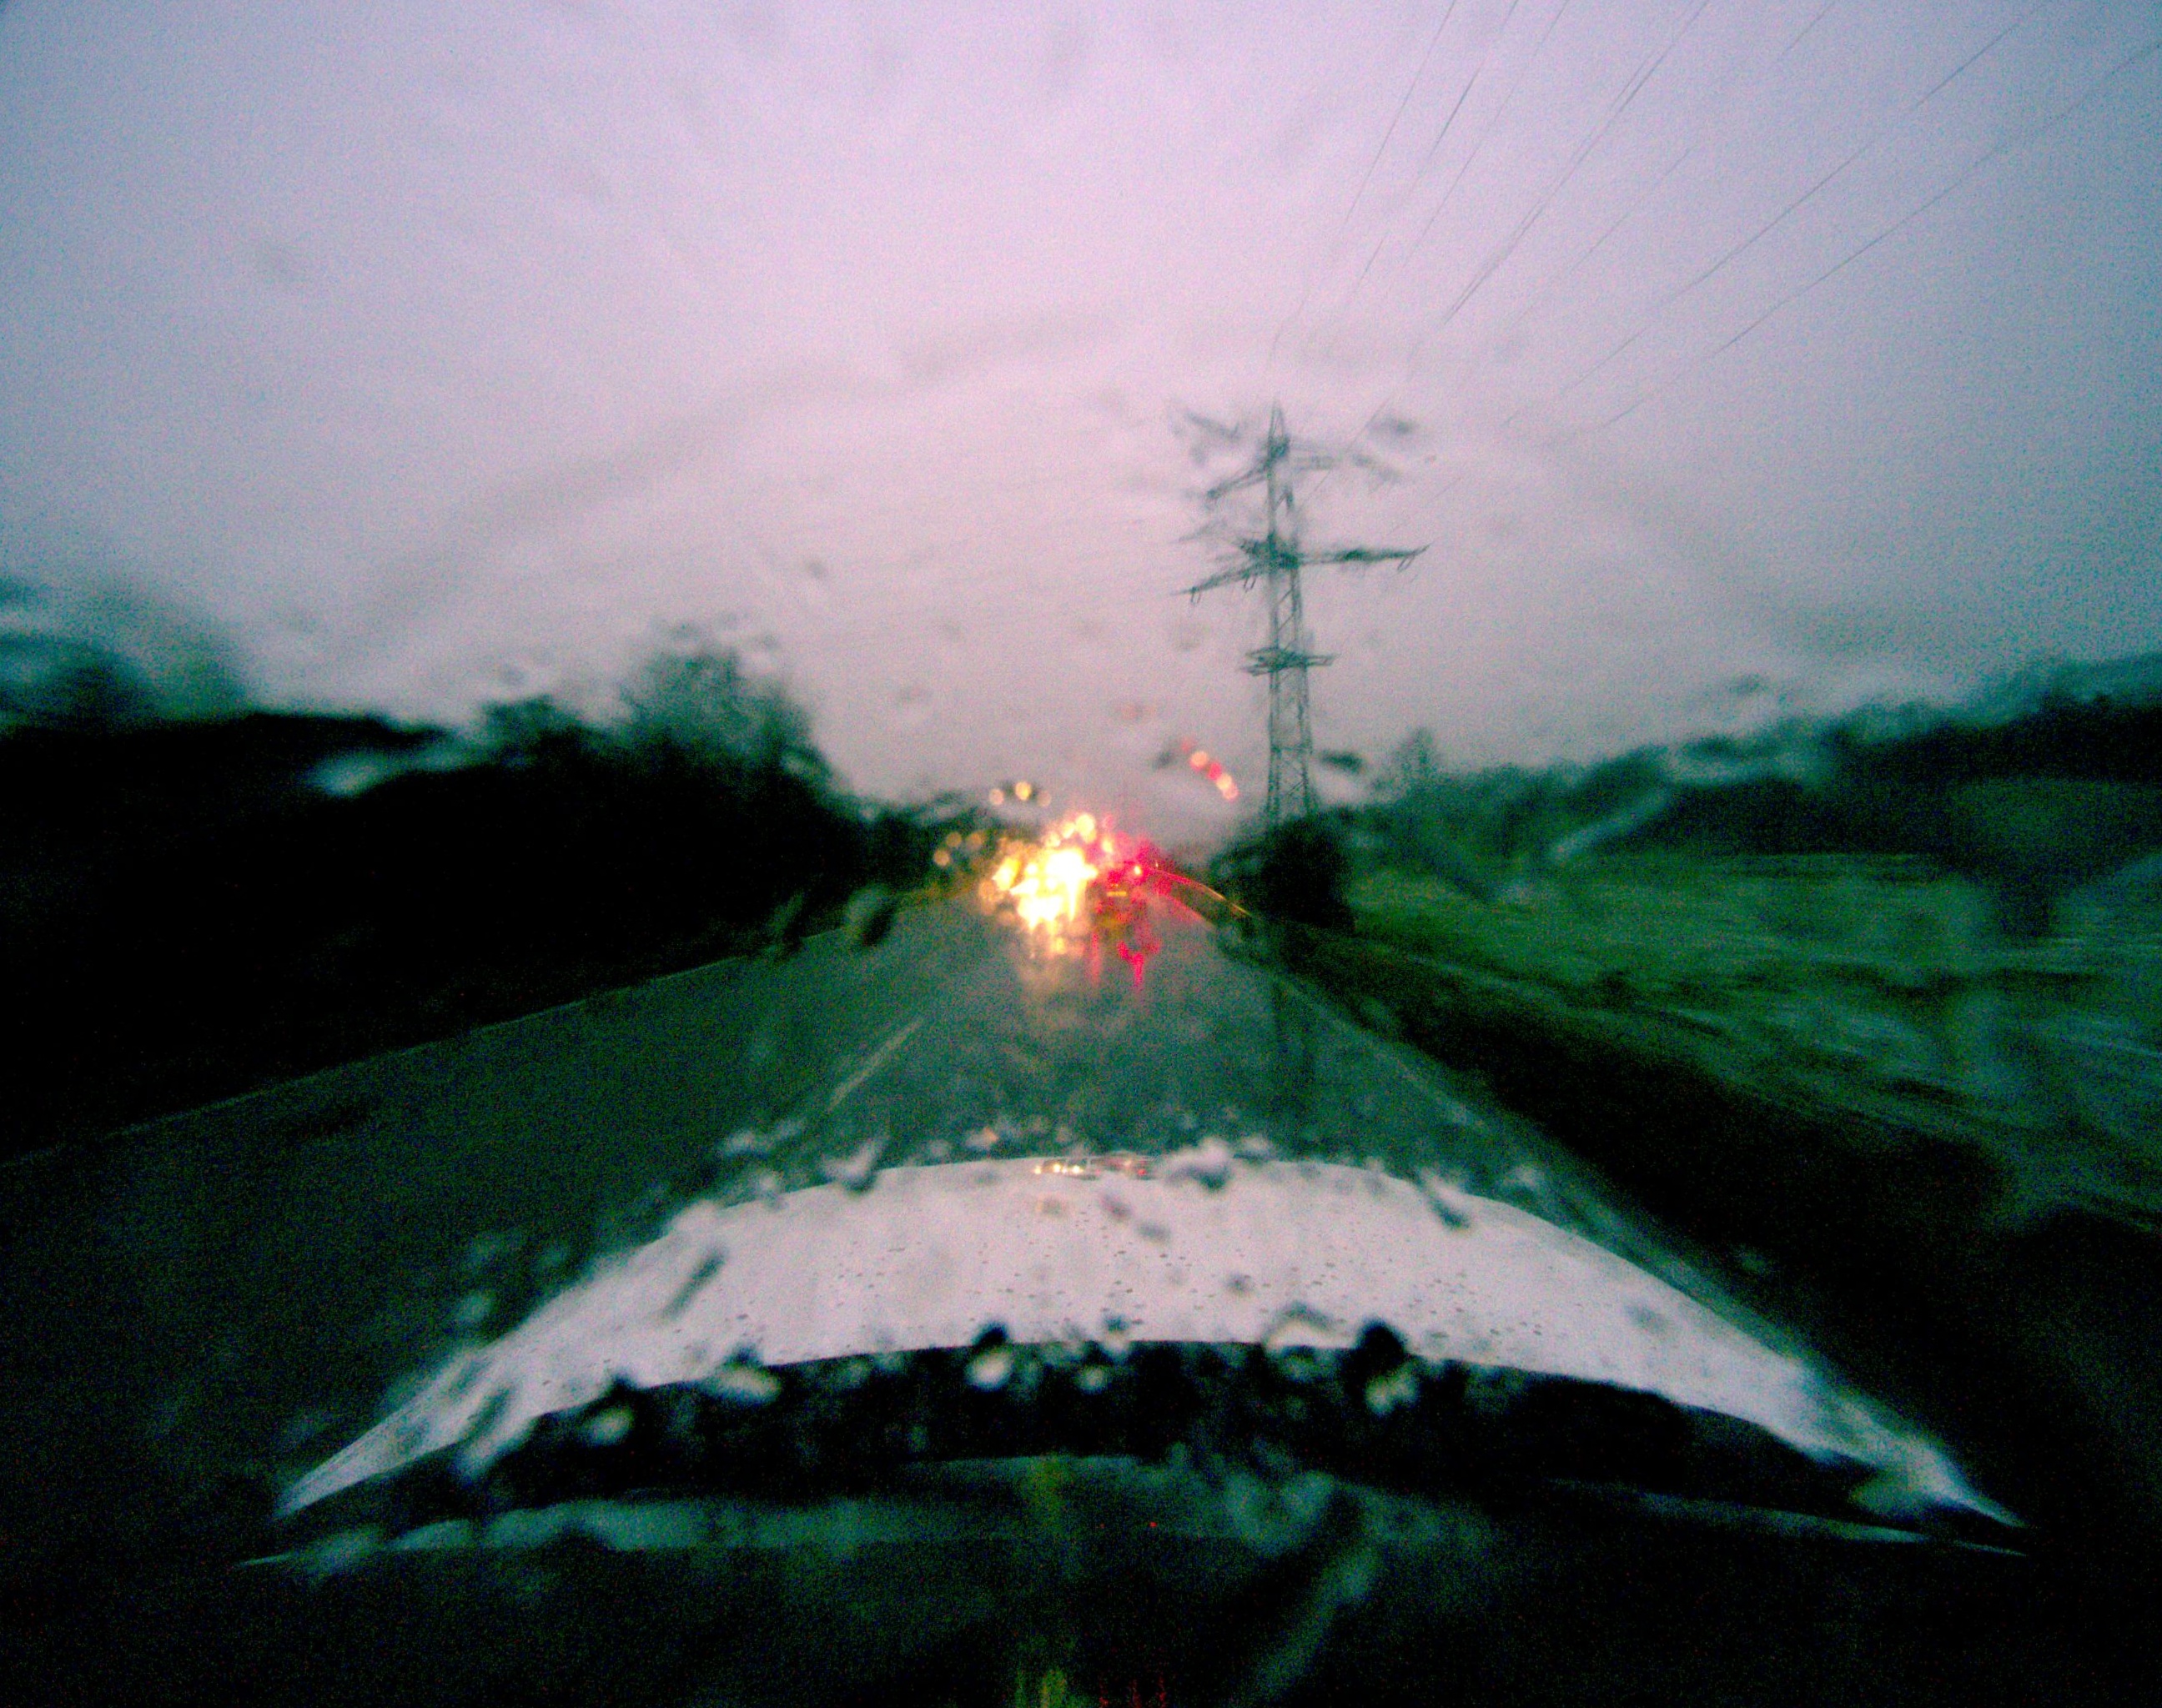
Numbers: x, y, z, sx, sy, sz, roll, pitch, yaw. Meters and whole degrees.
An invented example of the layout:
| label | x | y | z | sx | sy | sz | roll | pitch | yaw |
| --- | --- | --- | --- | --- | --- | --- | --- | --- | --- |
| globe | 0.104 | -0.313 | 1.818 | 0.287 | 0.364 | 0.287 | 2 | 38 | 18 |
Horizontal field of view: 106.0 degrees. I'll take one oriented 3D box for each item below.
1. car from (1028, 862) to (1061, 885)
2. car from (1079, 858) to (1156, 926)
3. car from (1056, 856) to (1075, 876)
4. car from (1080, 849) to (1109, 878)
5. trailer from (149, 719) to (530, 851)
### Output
| label | x | y | z | sx | sy | sz | roll | pitch | yaw |
| --- | --- | --- | --- | --- | --- | --- | --- | --- | --- |
| car | -2.302 | 1.264 | 52.800 | 1.821 | 1.409 | 4.001 | 0 | -2 | 2 |
| car | 1.028 | 1.018 | 23.590 | 1.986 | 1.752 | 4.001 | -1 | 0 | 2 |
| car | -1.630 | 1.345 | 88.026 | 1.821 | 2.119 | 4.001 | 0 | -2 | 2 |
| car | 1.032 | 0.658 | 59.556 | 1.986 | 2.013 | 4.002 | -2 | 0 | 2 |
| trailer | -25.187 | -2.002 | 29.127 | 2.987 | 3.634 | 11.389 | -1 | -1 | 1 |
